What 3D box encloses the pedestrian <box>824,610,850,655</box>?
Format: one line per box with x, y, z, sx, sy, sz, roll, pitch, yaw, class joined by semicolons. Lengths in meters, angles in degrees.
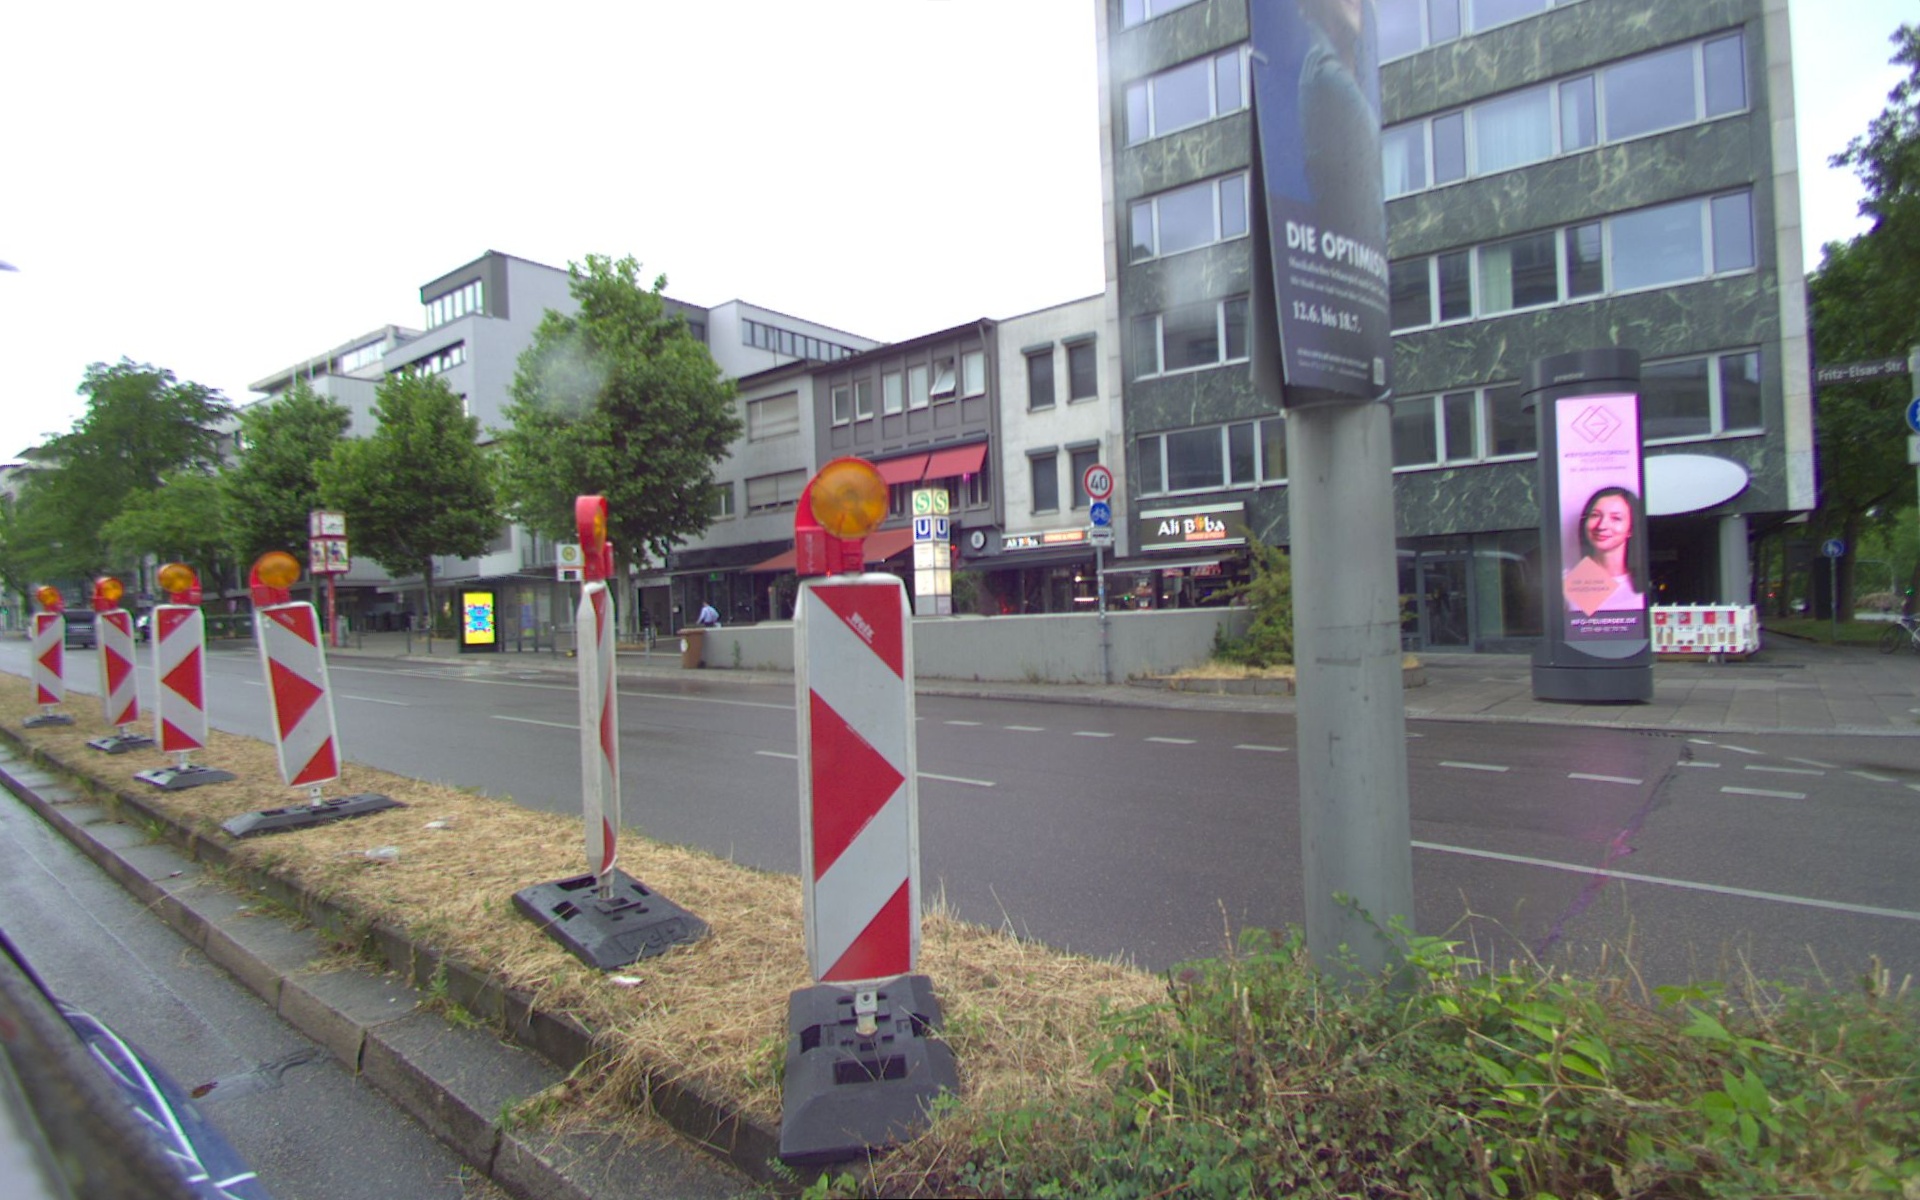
-4.336;1.131;35.550;0.611;1.540;0.660;-2;-1;44;pedestrian

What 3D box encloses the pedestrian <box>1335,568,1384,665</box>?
8.539;0.342;21.624;0.588;2.029;0.730;0;-1;-29;pedestrian

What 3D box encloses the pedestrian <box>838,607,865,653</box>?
-3.759;1.035;35.020;0.611;1.540;0.660;-2;-1;44;pedestrian

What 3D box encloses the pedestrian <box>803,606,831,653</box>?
-4.761;0.963;33.698;0.611;1.540;0.660;-2;-1;44;pedestrian

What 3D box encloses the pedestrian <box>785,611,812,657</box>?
-5.469;1.145;34.338;0.611;1.540;0.660;-2;-1;44;pedestrian

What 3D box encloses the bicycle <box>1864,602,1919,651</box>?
21.258;0.587;22.392;1.780;1.060;0.579;-1;-1;37;bicycle

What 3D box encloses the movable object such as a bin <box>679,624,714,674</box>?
-6.105;1.124;23.455;0.660;1.109;0.501;-1;0;39;movable object such as a bin

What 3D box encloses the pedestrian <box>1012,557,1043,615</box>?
2.170;-0.452;32.703;0.791;1.837;0.603;-1;0;36;pedestrian

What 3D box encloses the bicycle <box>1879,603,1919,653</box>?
20.763;0.592;21.484;1.780;1.060;0.579;-1;-1;37;bicycle

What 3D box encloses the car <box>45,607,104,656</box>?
-42.655;1.472;48.728;1.970;1.941;4.971;-1;3;-43;car

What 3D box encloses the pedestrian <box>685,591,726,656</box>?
-8.225;0.745;32.681;0.943;2.029;0.910;-1;0;41;pedestrian

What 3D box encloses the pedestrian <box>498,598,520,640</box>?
-22.074;0.937;49.504;0.764;2.029;0.768;-1;0;-41;pedestrian
